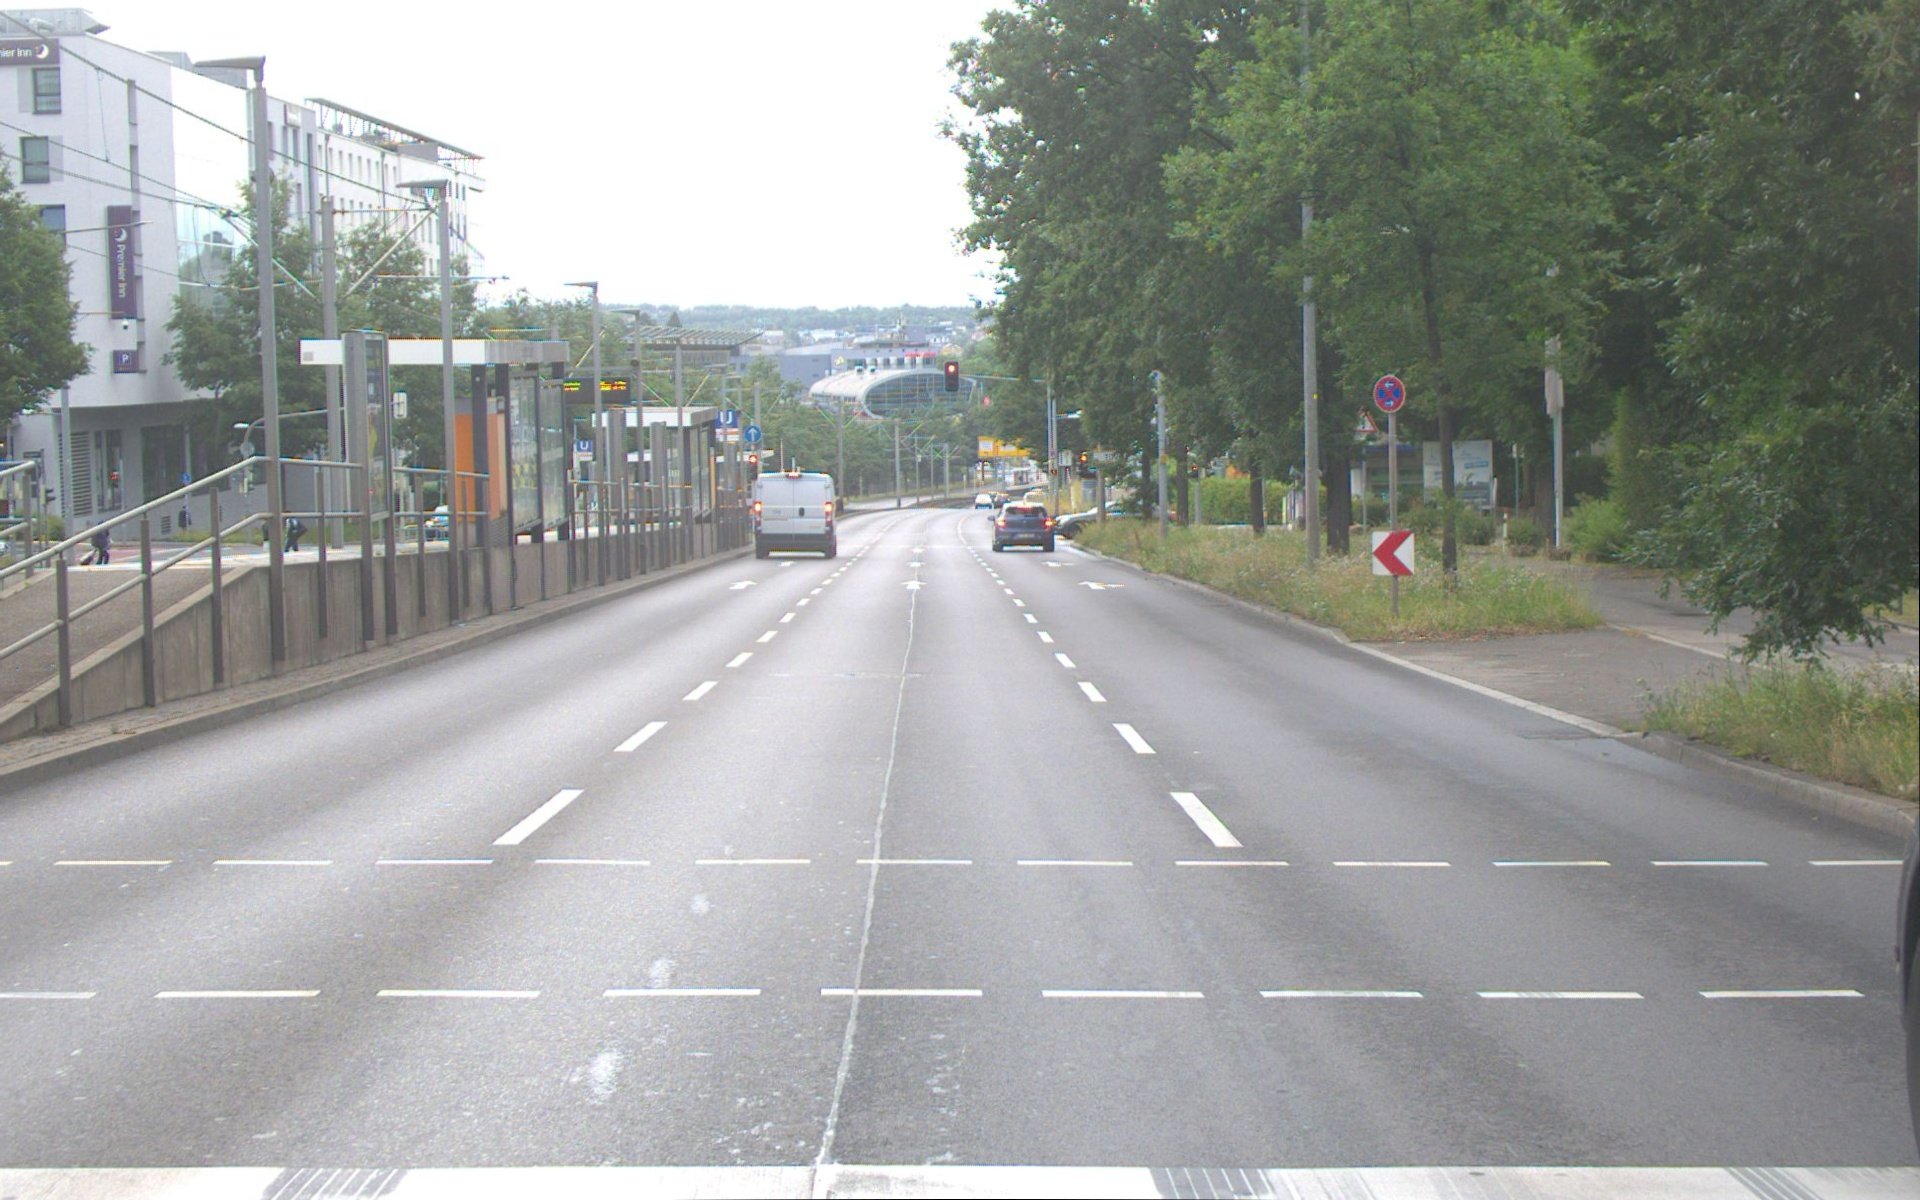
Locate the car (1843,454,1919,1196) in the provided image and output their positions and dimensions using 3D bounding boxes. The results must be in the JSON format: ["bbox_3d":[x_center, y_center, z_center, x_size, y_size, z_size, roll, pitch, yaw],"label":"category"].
[{"bbox_3d":[3.010,0.531,5.826,1.817,1.607,4.471,0,2,-1],"label":"car"}]

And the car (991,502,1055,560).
[{"bbox_3d":[1.859,-2.055,102.160,1.774,1.685,3.846,0,2,-1],"label":"car"}]

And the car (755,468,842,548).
[{"bbox_3d":[-4.246,-2.435,91.064,2.093,2.046,4.607,0,2,0],"label":"car"}]

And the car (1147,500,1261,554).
[{"bbox_3d":[9.190,-2.739,129.482,3.986,2.007,1.760,0,1,-8],"label":"car"}]

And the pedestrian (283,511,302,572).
[{"bbox_3d":[-21.006,-1.852,108.210,0.475,1.914,0.490,0,1,-1],"label":"pedestrian"}]
